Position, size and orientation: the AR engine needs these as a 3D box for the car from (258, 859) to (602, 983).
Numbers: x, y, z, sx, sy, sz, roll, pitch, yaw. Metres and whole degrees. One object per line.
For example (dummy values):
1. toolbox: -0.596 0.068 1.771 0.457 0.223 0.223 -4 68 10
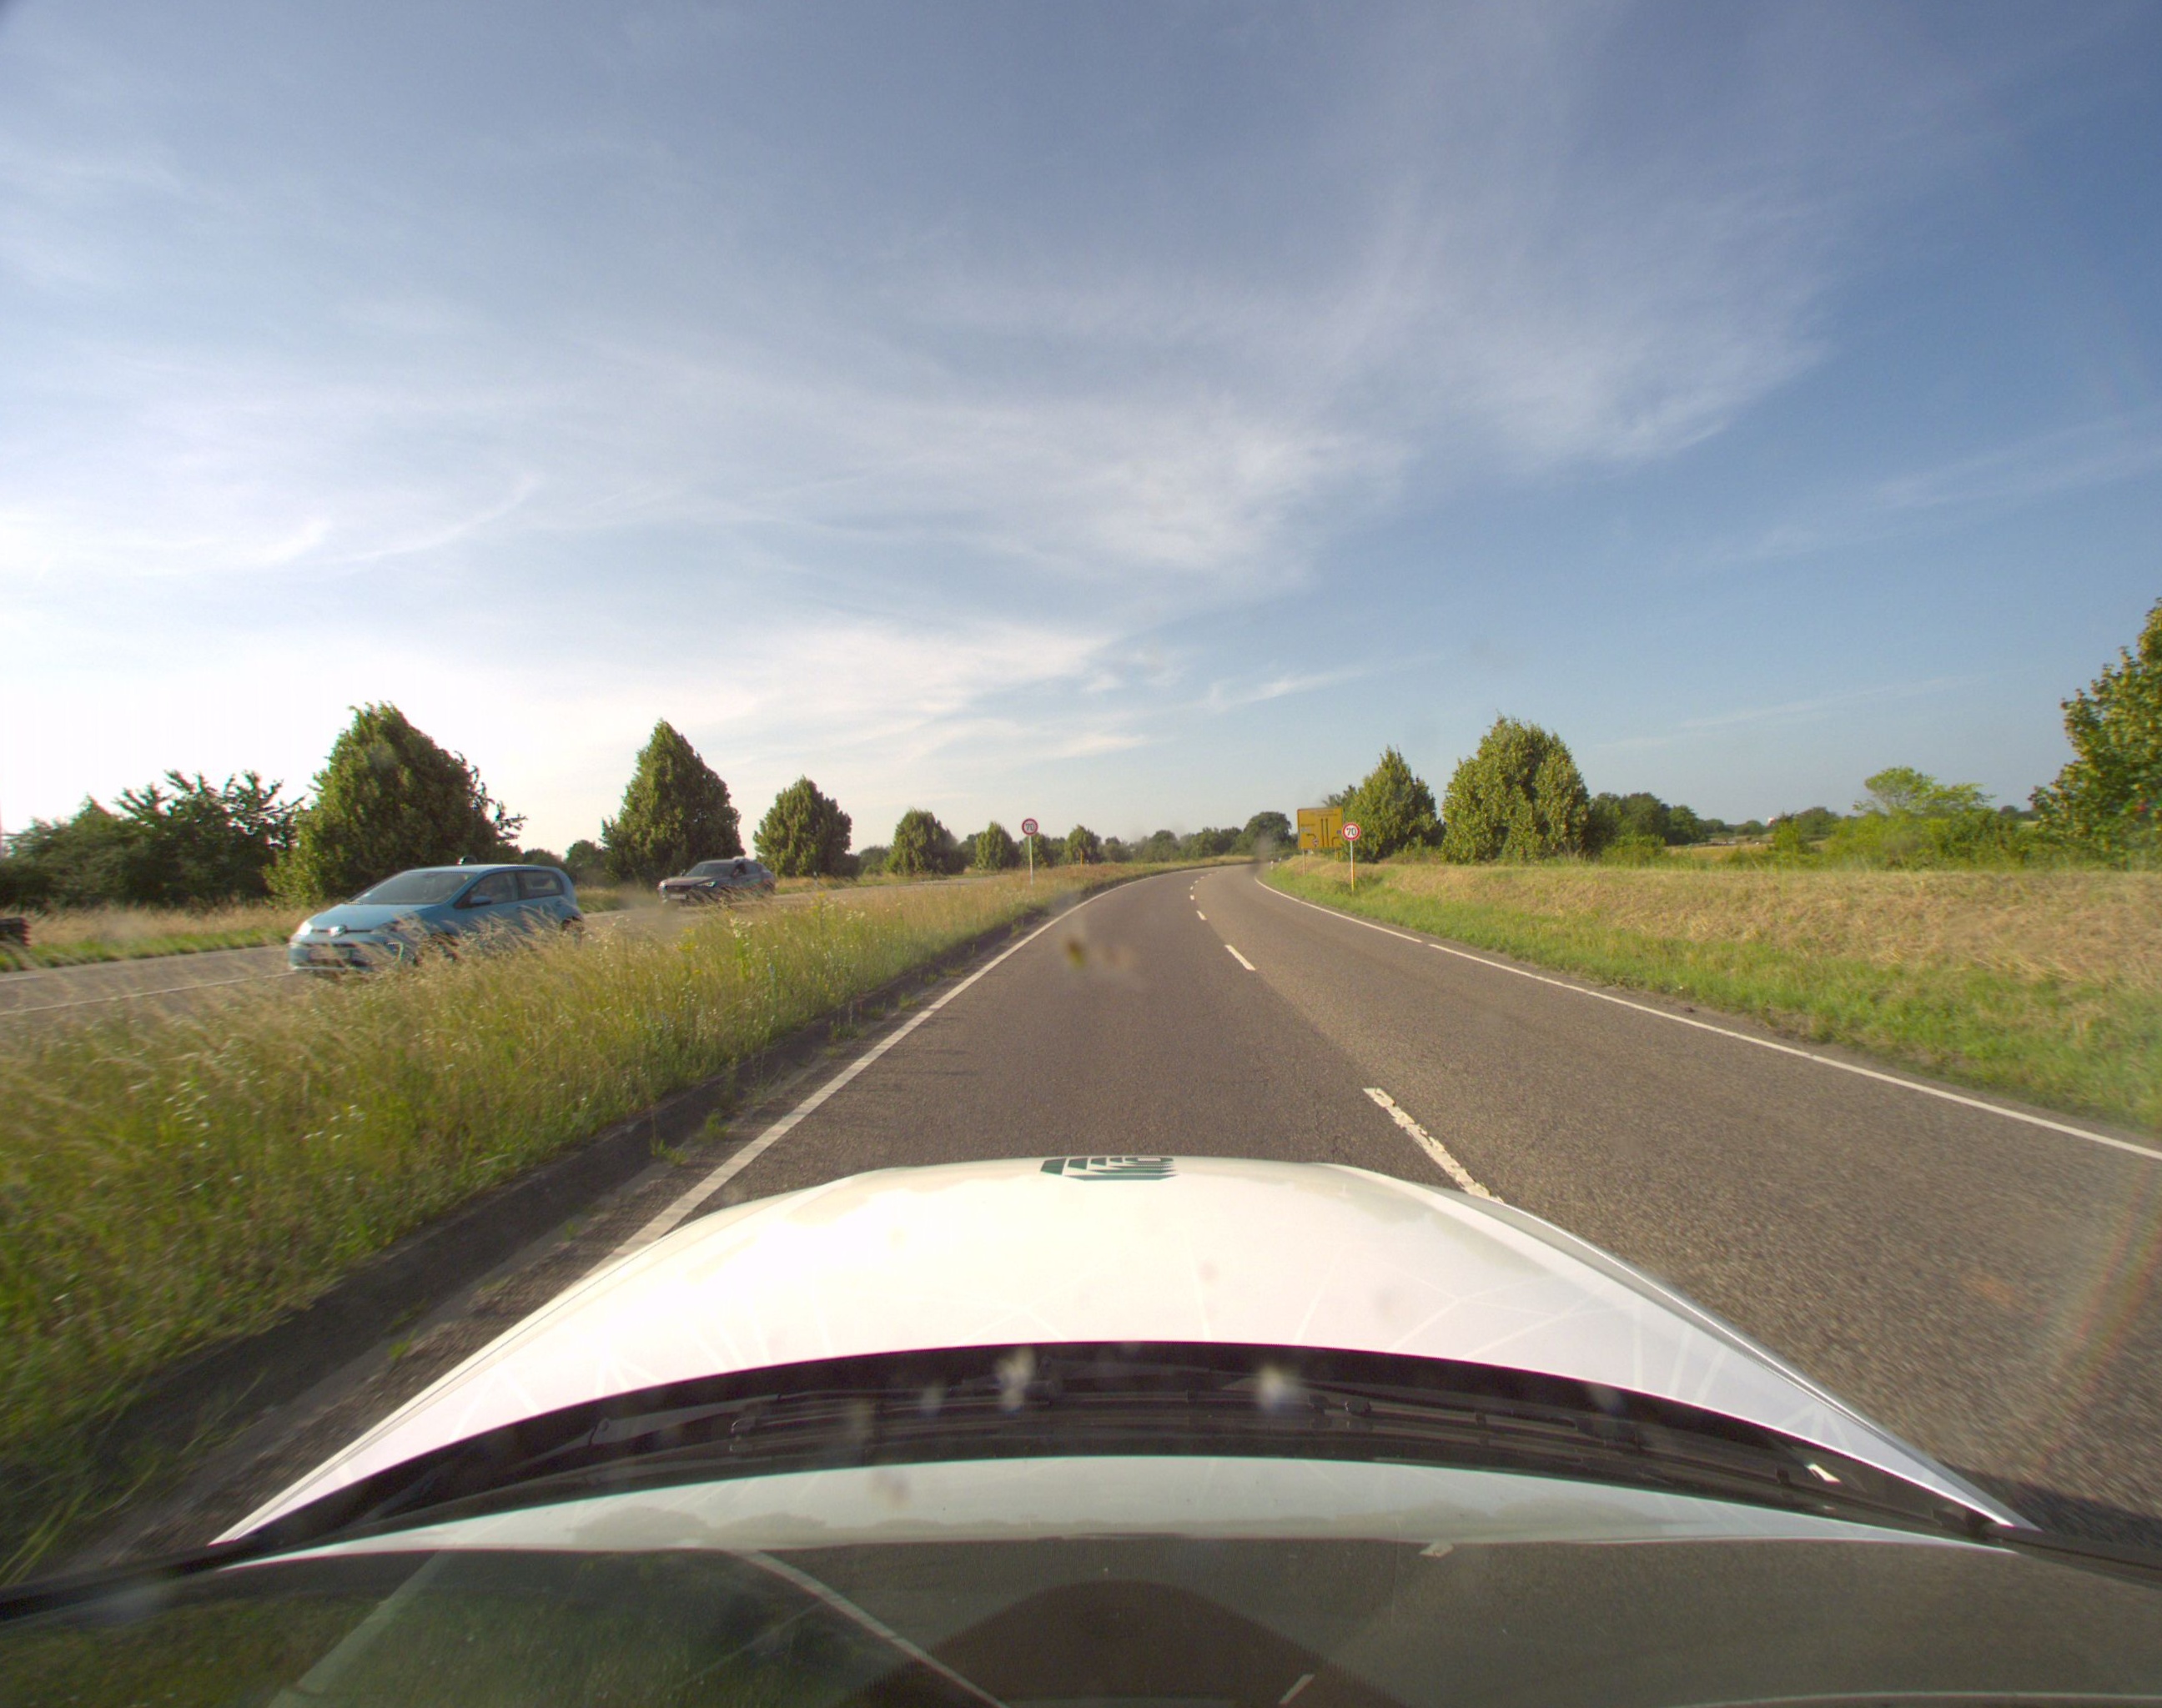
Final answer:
1. car: -8.891 0.814 11.600 1.671 1.443 3.757 -1 0 4

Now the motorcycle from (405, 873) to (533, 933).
1. motorcycle: -12.543 0.961 16.807 0.749 1.093 2.310 -1 0 4

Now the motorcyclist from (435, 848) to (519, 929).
1. motorcyclist: -12.535 0.697 16.930 0.749 1.604 1.251 -1 0 4

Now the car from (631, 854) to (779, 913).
1. car: -11.105 0.798 24.478 1.903 1.565 4.618 -1 0 6
